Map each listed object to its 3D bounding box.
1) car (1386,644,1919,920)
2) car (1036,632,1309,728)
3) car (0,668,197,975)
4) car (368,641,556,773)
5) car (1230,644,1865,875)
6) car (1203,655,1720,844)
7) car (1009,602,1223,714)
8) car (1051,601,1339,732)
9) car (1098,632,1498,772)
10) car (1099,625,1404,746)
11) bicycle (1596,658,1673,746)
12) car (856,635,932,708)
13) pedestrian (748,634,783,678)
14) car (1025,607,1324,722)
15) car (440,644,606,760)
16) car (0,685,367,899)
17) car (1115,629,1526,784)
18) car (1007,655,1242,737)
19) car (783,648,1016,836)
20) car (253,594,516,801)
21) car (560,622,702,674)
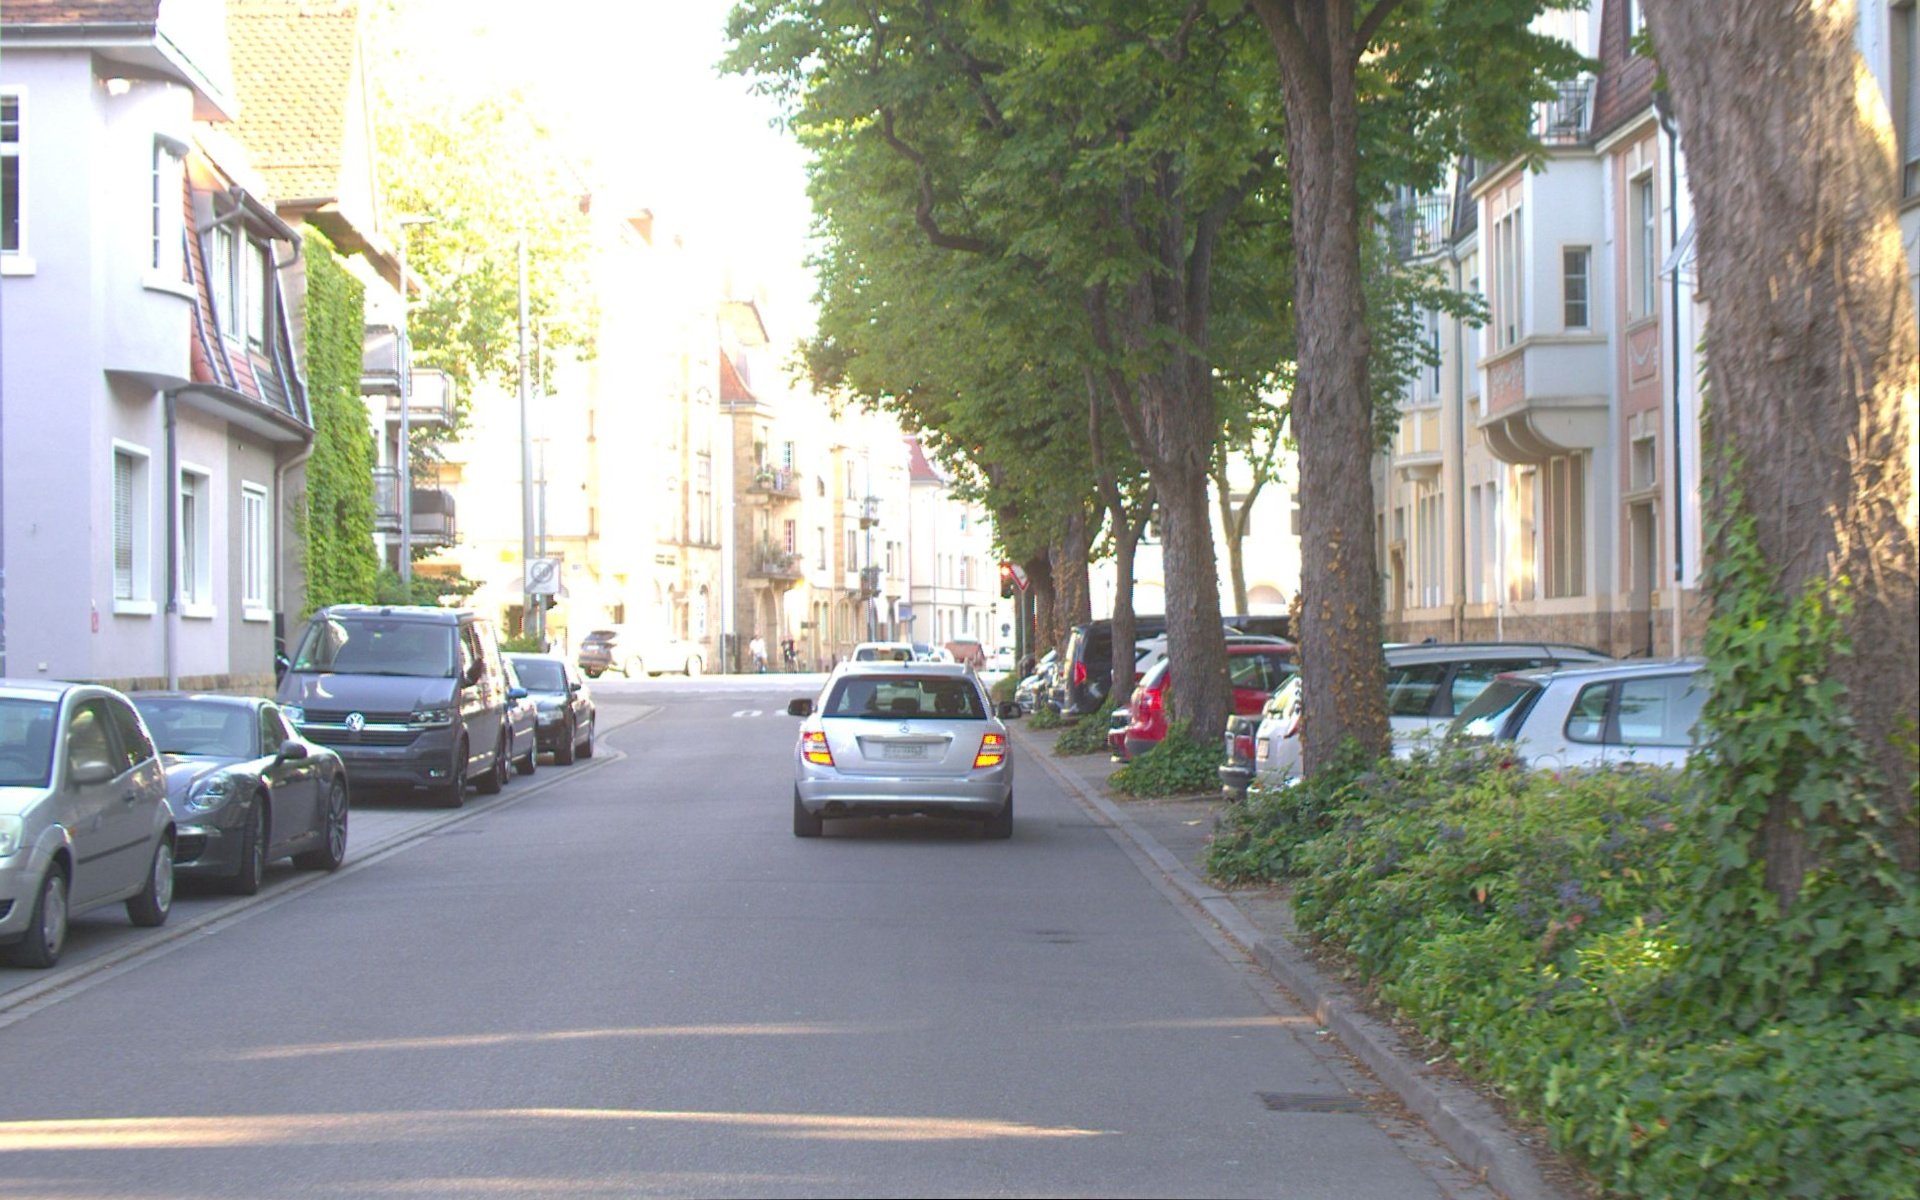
[{"bbox_3d":[4.523,1.002,19.788,3.792,1.433,1.749,-1,-1,-5],"label":"car"},{"bbox_3d":[3.454,1.296,56.350,4.287,1.536,1.877,0,0,-3],"label":"car"},{"bbox_3d":[-5.469,1.126,18.898,1.653,1.440,3.960,1,0,0],"label":"car"},{"bbox_3d":[-5.931,1.249,41.359,1.653,1.442,4.237,2,0,-1],"label":"car"},{"bbox_3d":[4.123,1.104,24.485,4.146,1.571,1.713,0,-1,-6],"label":"car"},{"bbox_3d":[3.887,1.155,27.119,3.793,1.433,1.817,0,-1,-1],"label":"car"},{"bbox_3d":[3.302,1.230,73.387,4.388,2.356,2.000,0,0,-3],"label":"car"},{"bbox_3d":[3.607,1.027,53.362,4.219,1.890,1.906,-1,-1,-3],"label":"car"},{"bbox_3d":[3.826,1.159,39.500,4.411,1.414,1.876,-2,-1,2],"label":"car"},{"bbox_3d":[4.085,1.198,48.663,4.110,1.566,1.877,-2,-1,0],"label":"car"},{"bbox_3d":[8.498,1.276,43.354,0.474,1.053,2.045,-2,-1,-2],"label":"bicycle"},{"bbox_3d":[-1.437,1.561,75.863,1.623,1.564,3.680,0,0,0],"label":"car"},{"bbox_3d":[-7.729,2.215,136.441,1.221,1.716,1.503,1,-1,2],"label":"pedestrian"},{"bbox_3d":[3.739,1.130,60.622,5.053,1.982,2.072,0,0,-3],"label":"car"},{"bbox_3d":[-5.830,1.335,46.318,1.695,1.442,4.357,1,0,-1],"label":"car"},{"bbox_3d":[-5.347,1.277,24.046,1.531,1.314,4.226,1,-1,2],"label":"car"},{"bbox_3d":[3.793,1.126,36.765,4.190,1.470,1.851,-2,-1,2],"label":"car"},{"bbox_3d":[3.101,1.815,65.533,4.287,1.412,1.877,-1,0,-3],"label":"car"},{"bbox_3d":[-0.480,1.143,28.608,1.784,1.432,3.850,1,-1,0],"label":"car"},{"bbox_3d":[-5.832,0.955,35.405,1.982,1.941,4.851,1,0,-2],"label":"car"},{"bbox_3d":[-10.217,1.479,106.855,3.989,1.579,1.999,0,-1,-42],"label":"car"}]
